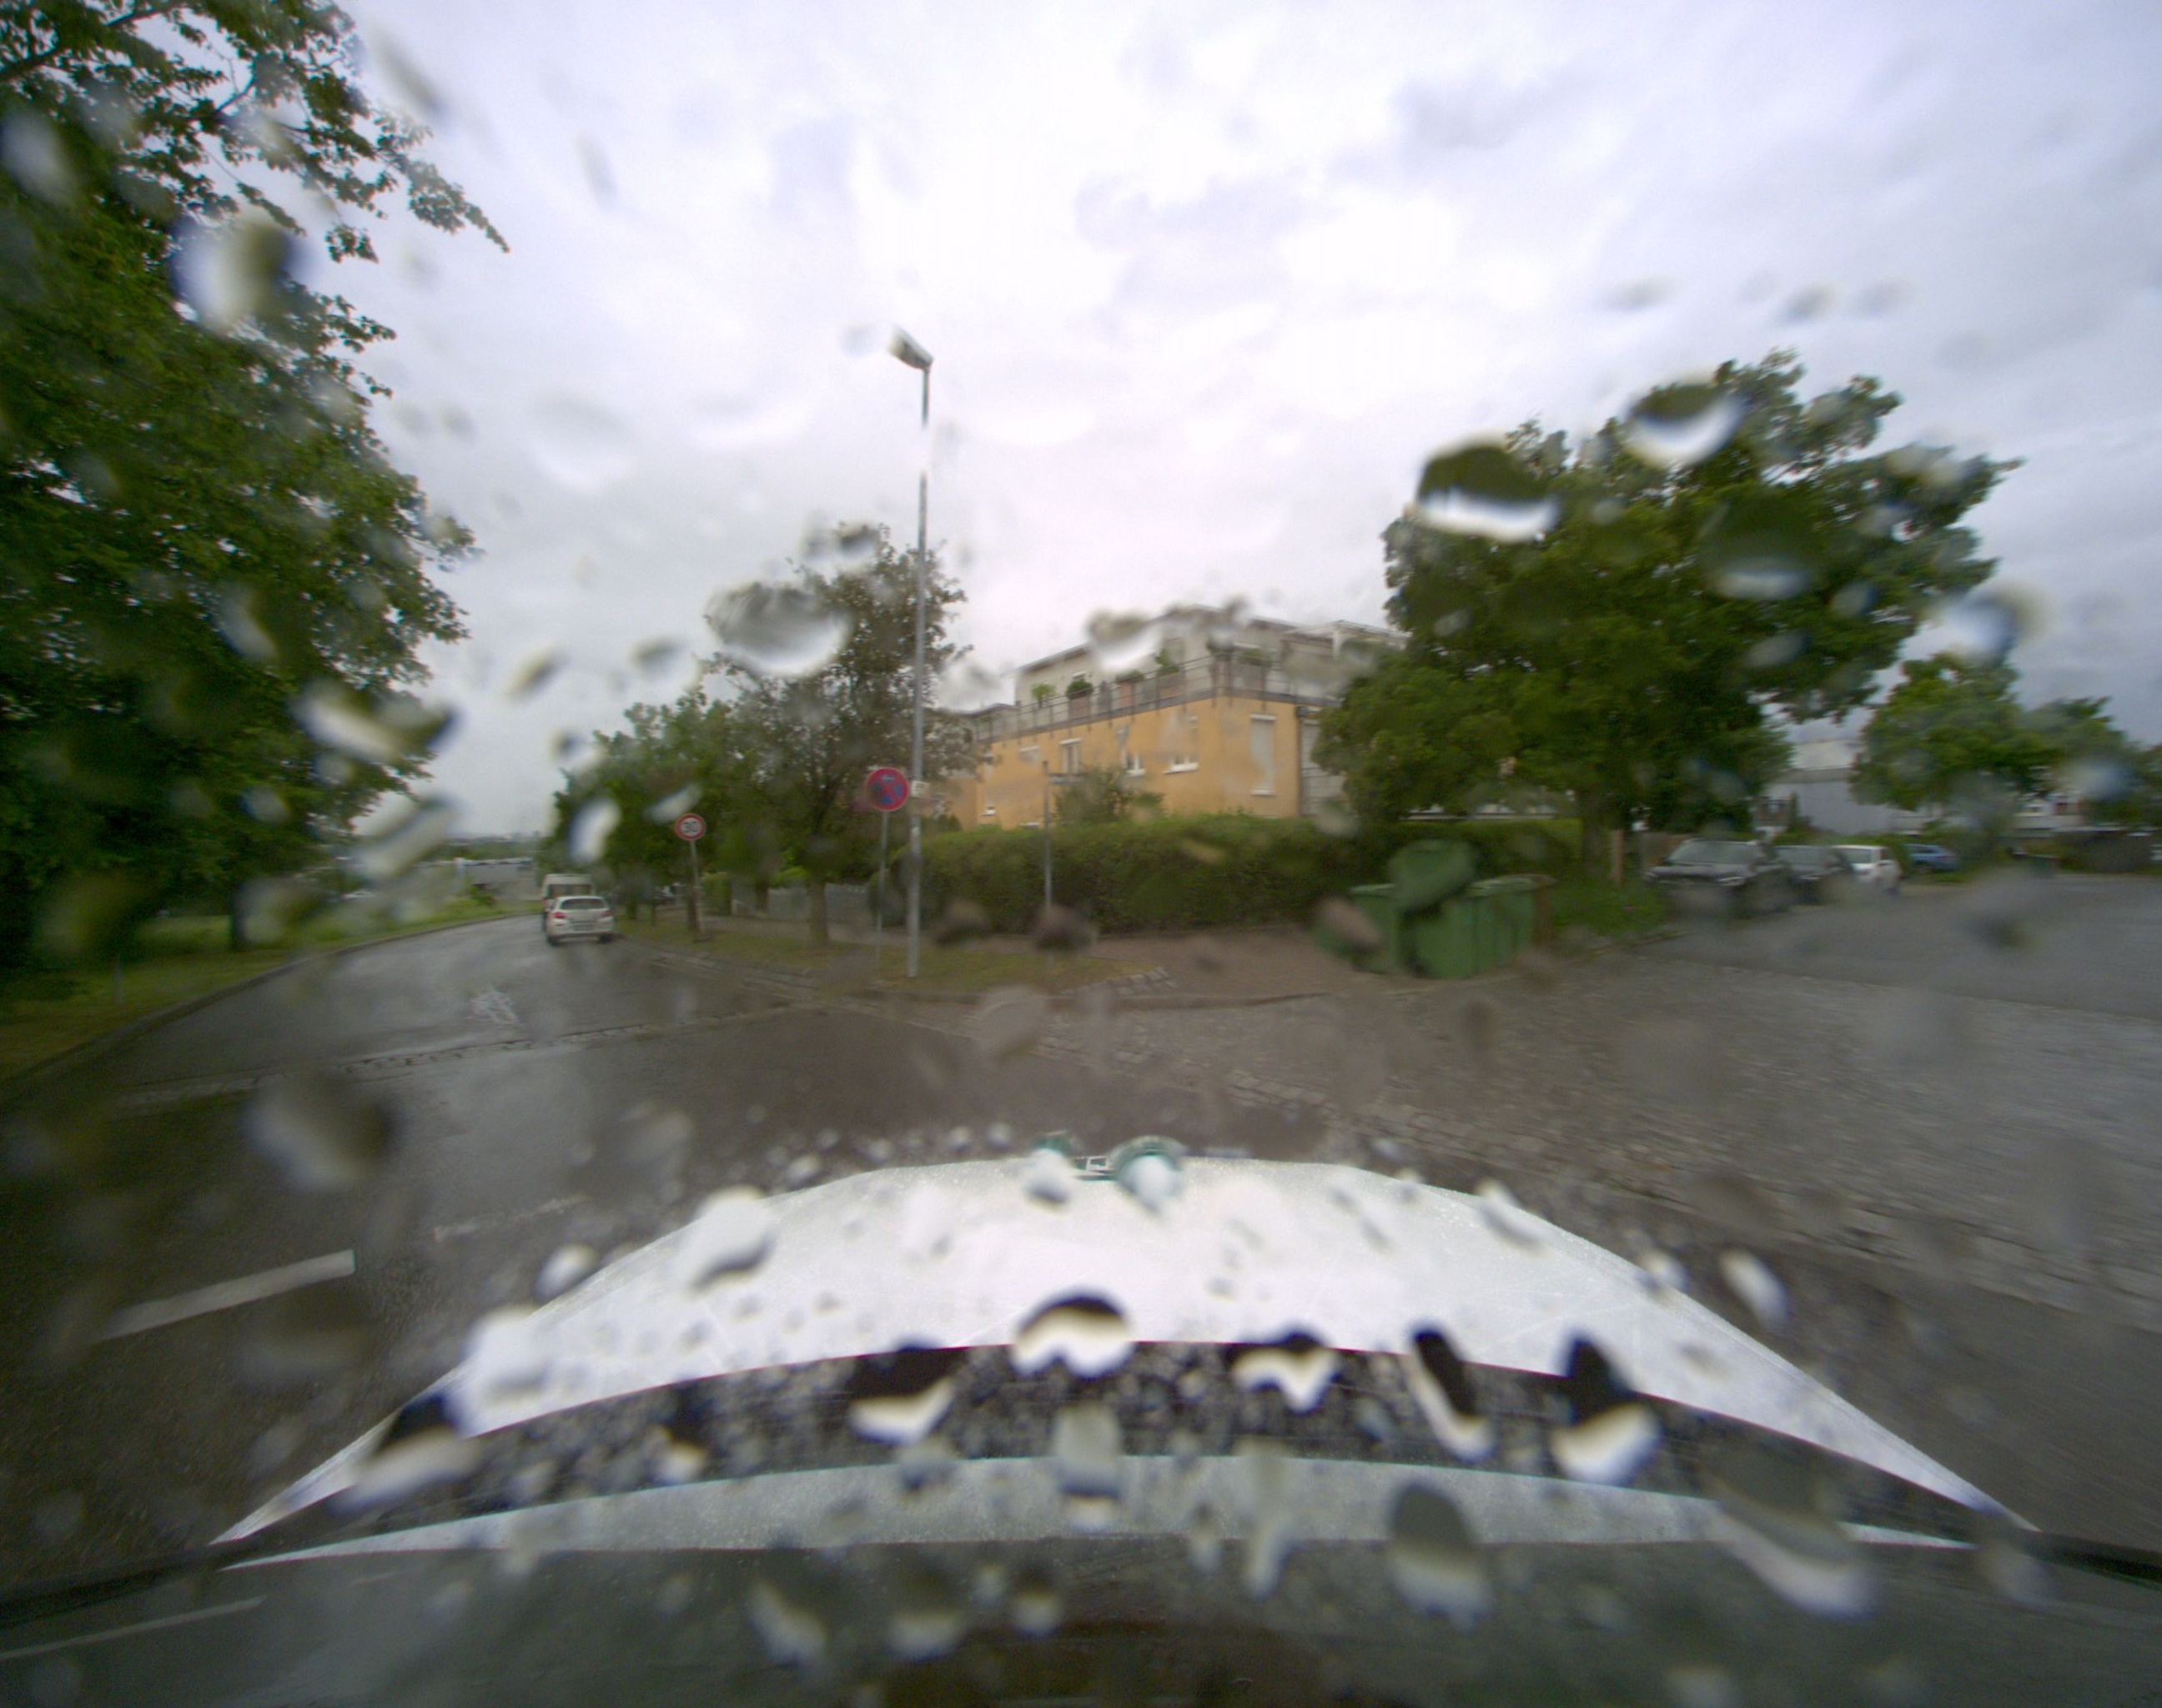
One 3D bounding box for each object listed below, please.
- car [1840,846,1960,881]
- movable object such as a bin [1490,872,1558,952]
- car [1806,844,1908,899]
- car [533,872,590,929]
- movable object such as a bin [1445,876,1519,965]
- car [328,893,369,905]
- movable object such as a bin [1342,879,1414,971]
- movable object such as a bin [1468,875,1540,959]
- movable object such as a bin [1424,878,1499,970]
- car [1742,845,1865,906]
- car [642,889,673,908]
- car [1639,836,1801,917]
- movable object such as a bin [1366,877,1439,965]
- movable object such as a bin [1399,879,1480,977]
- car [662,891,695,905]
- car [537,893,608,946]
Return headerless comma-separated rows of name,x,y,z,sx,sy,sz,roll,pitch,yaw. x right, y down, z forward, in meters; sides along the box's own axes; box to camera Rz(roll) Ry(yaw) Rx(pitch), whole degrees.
car,39.241,0.406,39.080,1.918,1.568,3.953,1,0,-41
movable object such as a bin,6.217,0.797,11.434,0.609,1.055,0.688,-1,0,-45
car,22.943,0.489,24.063,3.286,1.476,1.500,0,2,-35
car,-24.463,2.175,38.409,2.132,2.468,5.453,0,-3,-32
movable object such as a bin,5.158,0.828,10.478,0.582,1.067,0.688,-1,0,-45
car,-114.742,7.054,127.613,1.776,1.702,4.297,1,-2,22
movable object such as a bin,3.710,0.863,10.178,0.547,1.073,0.659,-1,0,-44
movable object such as a bin,5.651,0.817,10.875,0.609,1.055,0.688,-1,0,-45
movable object such as a bin,4.709,0.841,10.079,0.547,1.075,0.688,-1,0,-45
car,18.808,0.511,21.168,3.620,1.409,1.623,0,2,-36
car,-38.738,4.079,74.547,1.688,1.552,3.679,0,-1,-14
car,13.921,0.421,17.662,4.156,1.518,1.761,0,2,-38
movable object such as a bin,4.186,0.846,10.595,0.601,1.072,0.688,-1,0,-45
movable object such as a bin,4.253,0.851,9.664,0.605,1.075,0.688,-1,0,-45
car,-54.187,5.926,109.644,3.565,1.606,1.685,-2,-2,-13
car,-16.039,2.006,25.603,1.618,1.503,3.684,1,-3,-36
